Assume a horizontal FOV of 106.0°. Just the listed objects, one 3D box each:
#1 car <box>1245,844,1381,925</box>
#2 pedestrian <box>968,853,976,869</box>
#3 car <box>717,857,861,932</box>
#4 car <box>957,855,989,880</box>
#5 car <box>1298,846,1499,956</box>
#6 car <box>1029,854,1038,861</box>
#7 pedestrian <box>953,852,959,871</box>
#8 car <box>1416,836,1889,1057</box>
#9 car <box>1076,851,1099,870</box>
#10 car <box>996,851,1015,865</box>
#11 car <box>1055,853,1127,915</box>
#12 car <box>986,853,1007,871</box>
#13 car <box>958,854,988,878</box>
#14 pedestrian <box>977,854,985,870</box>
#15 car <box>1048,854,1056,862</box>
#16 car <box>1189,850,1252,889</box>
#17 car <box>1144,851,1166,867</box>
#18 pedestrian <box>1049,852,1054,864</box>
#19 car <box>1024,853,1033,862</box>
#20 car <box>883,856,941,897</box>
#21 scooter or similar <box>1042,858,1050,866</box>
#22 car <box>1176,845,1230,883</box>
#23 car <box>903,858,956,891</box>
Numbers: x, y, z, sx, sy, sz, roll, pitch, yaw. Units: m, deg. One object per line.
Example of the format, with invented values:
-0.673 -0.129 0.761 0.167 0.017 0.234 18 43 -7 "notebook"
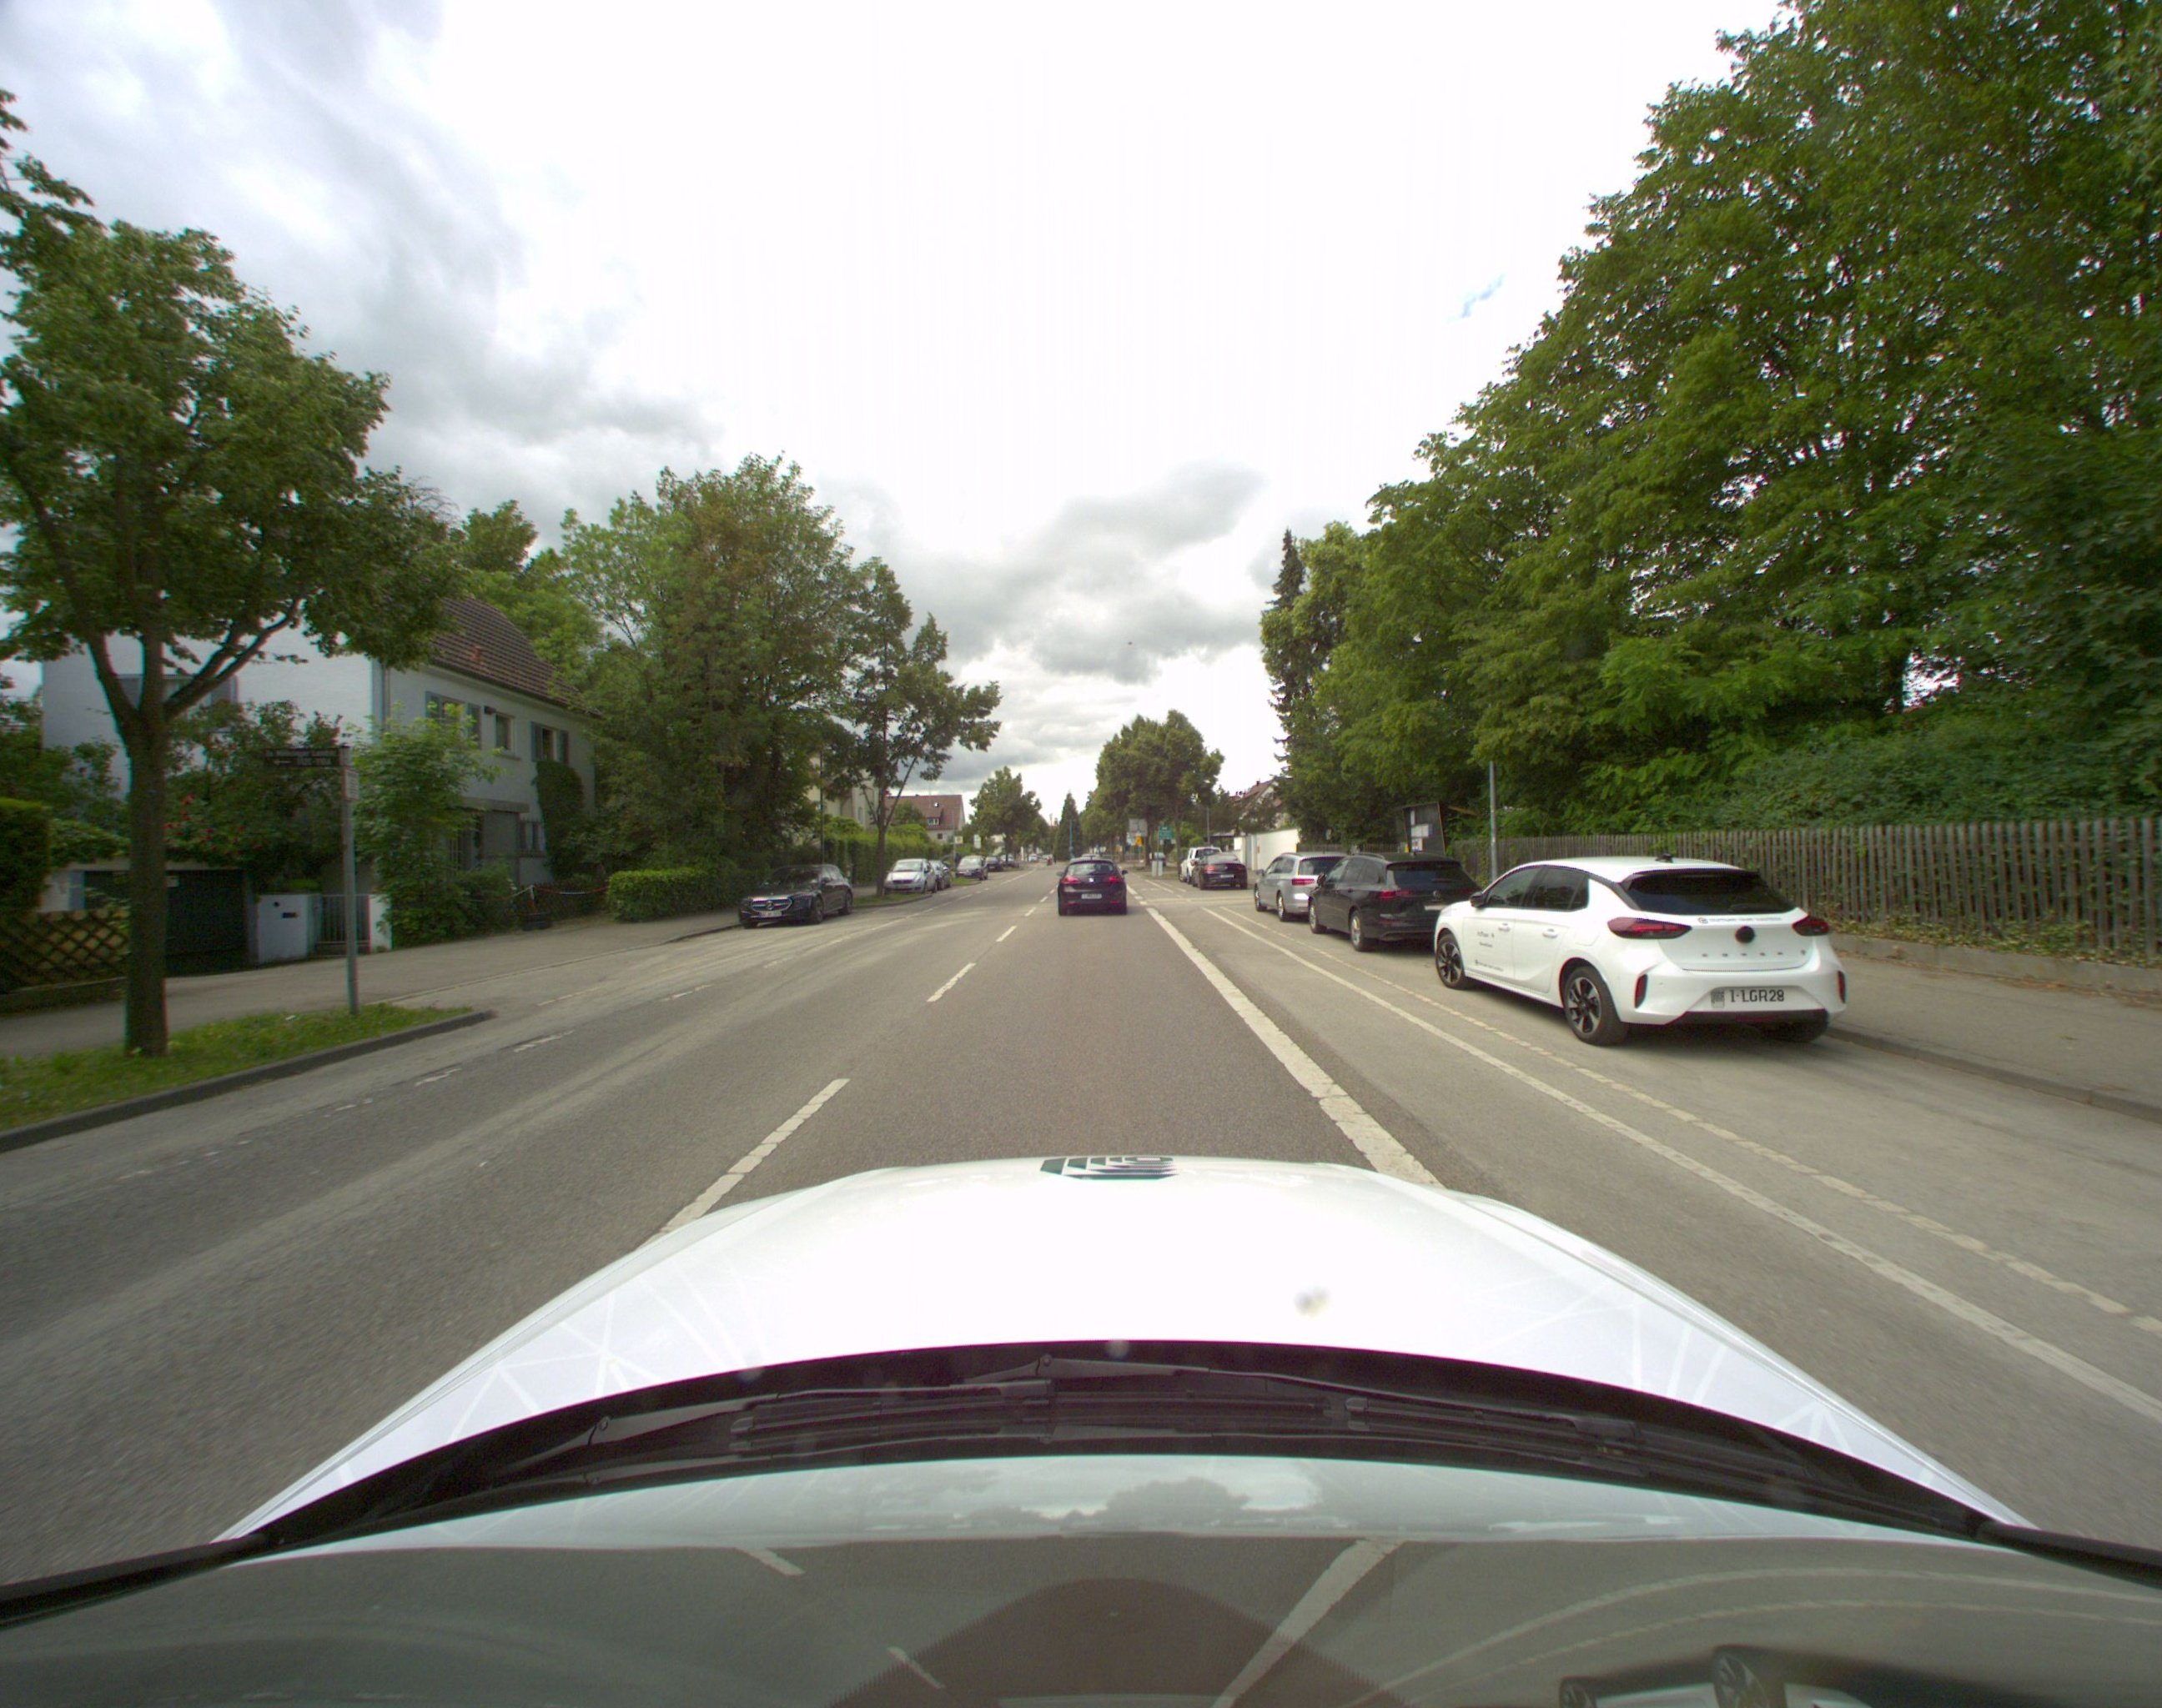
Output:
5.138 0.621 18.690 1.855 1.611 4.687 0 0 1 "car"
-11.622 0.791 87.001 0.786 1.663 0.879 -2 0 -7 "pedestrian"
-7.593 0.965 21.781 2.089 1.647 5.035 -3 0 -2 "car"
-7.146 0.893 54.277 1.672 1.552 4.269 -2 0 -2 "car"
4.949 0.623 13.425 1.695 1.510 4.539 0 0 2 "car"
-10.369 0.731 176.887 1.793 1.601 3.998 -2 0 -1 "car"
-11.760 0.686 76.625 0.502 1.806 0.671 -2 0 -1 "pedestrian"
4.827 0.666 7.730 1.761 1.510 4.033 -1 0 2 "car"
0.637 0.560 73.701 1.987 1.613 4.000 -1 0 1 "car"
-9.119 0.498 99.145 1.854 1.653 4.294 -1 0 0 "car"
0.329 0.718 21.650 1.725 1.486 4.002 -1 0 2 "car"
-8.581 0.762 82.833 1.720 1.725 4.561 -1 0 -2 "car"
-8.089 0.873 61.484 1.816 1.634 4.581 -2 0 -3 "car"
-10.668 0.810 86.866 0.786 1.663 0.752 -1 0 -7 "pedestrian"
-6.634 0.932 184.703 1.563 1.634 3.621 -2 0 0 "car"
5.467 0.565 32.391 1.856 1.417 4.605 -1 0 2 "car"
6.797 0.484 75.269 1.606 1.377 4.386 -2 -1 0 "car"
-4.139 0.553 114.177 0.511 1.669 0.484 -2 0 10 "pedestrian"
-12.625 0.800 194.883 2.025 1.970 3.996 -2 0 -3 "car"
-7.442 0.949 36.151 1.713 1.613 3.909 -2 0 -1 "car"
-4.881 1.076 114.241 0.960 1.095 0.408 1 -1 12 "scooter or similar"
5.687 0.463 38.373 1.894 1.642 4.115 -2 0 0 "car"
-7.694 0.985 41.788 1.989 1.485 4.885 -2 0 -3 "car"
